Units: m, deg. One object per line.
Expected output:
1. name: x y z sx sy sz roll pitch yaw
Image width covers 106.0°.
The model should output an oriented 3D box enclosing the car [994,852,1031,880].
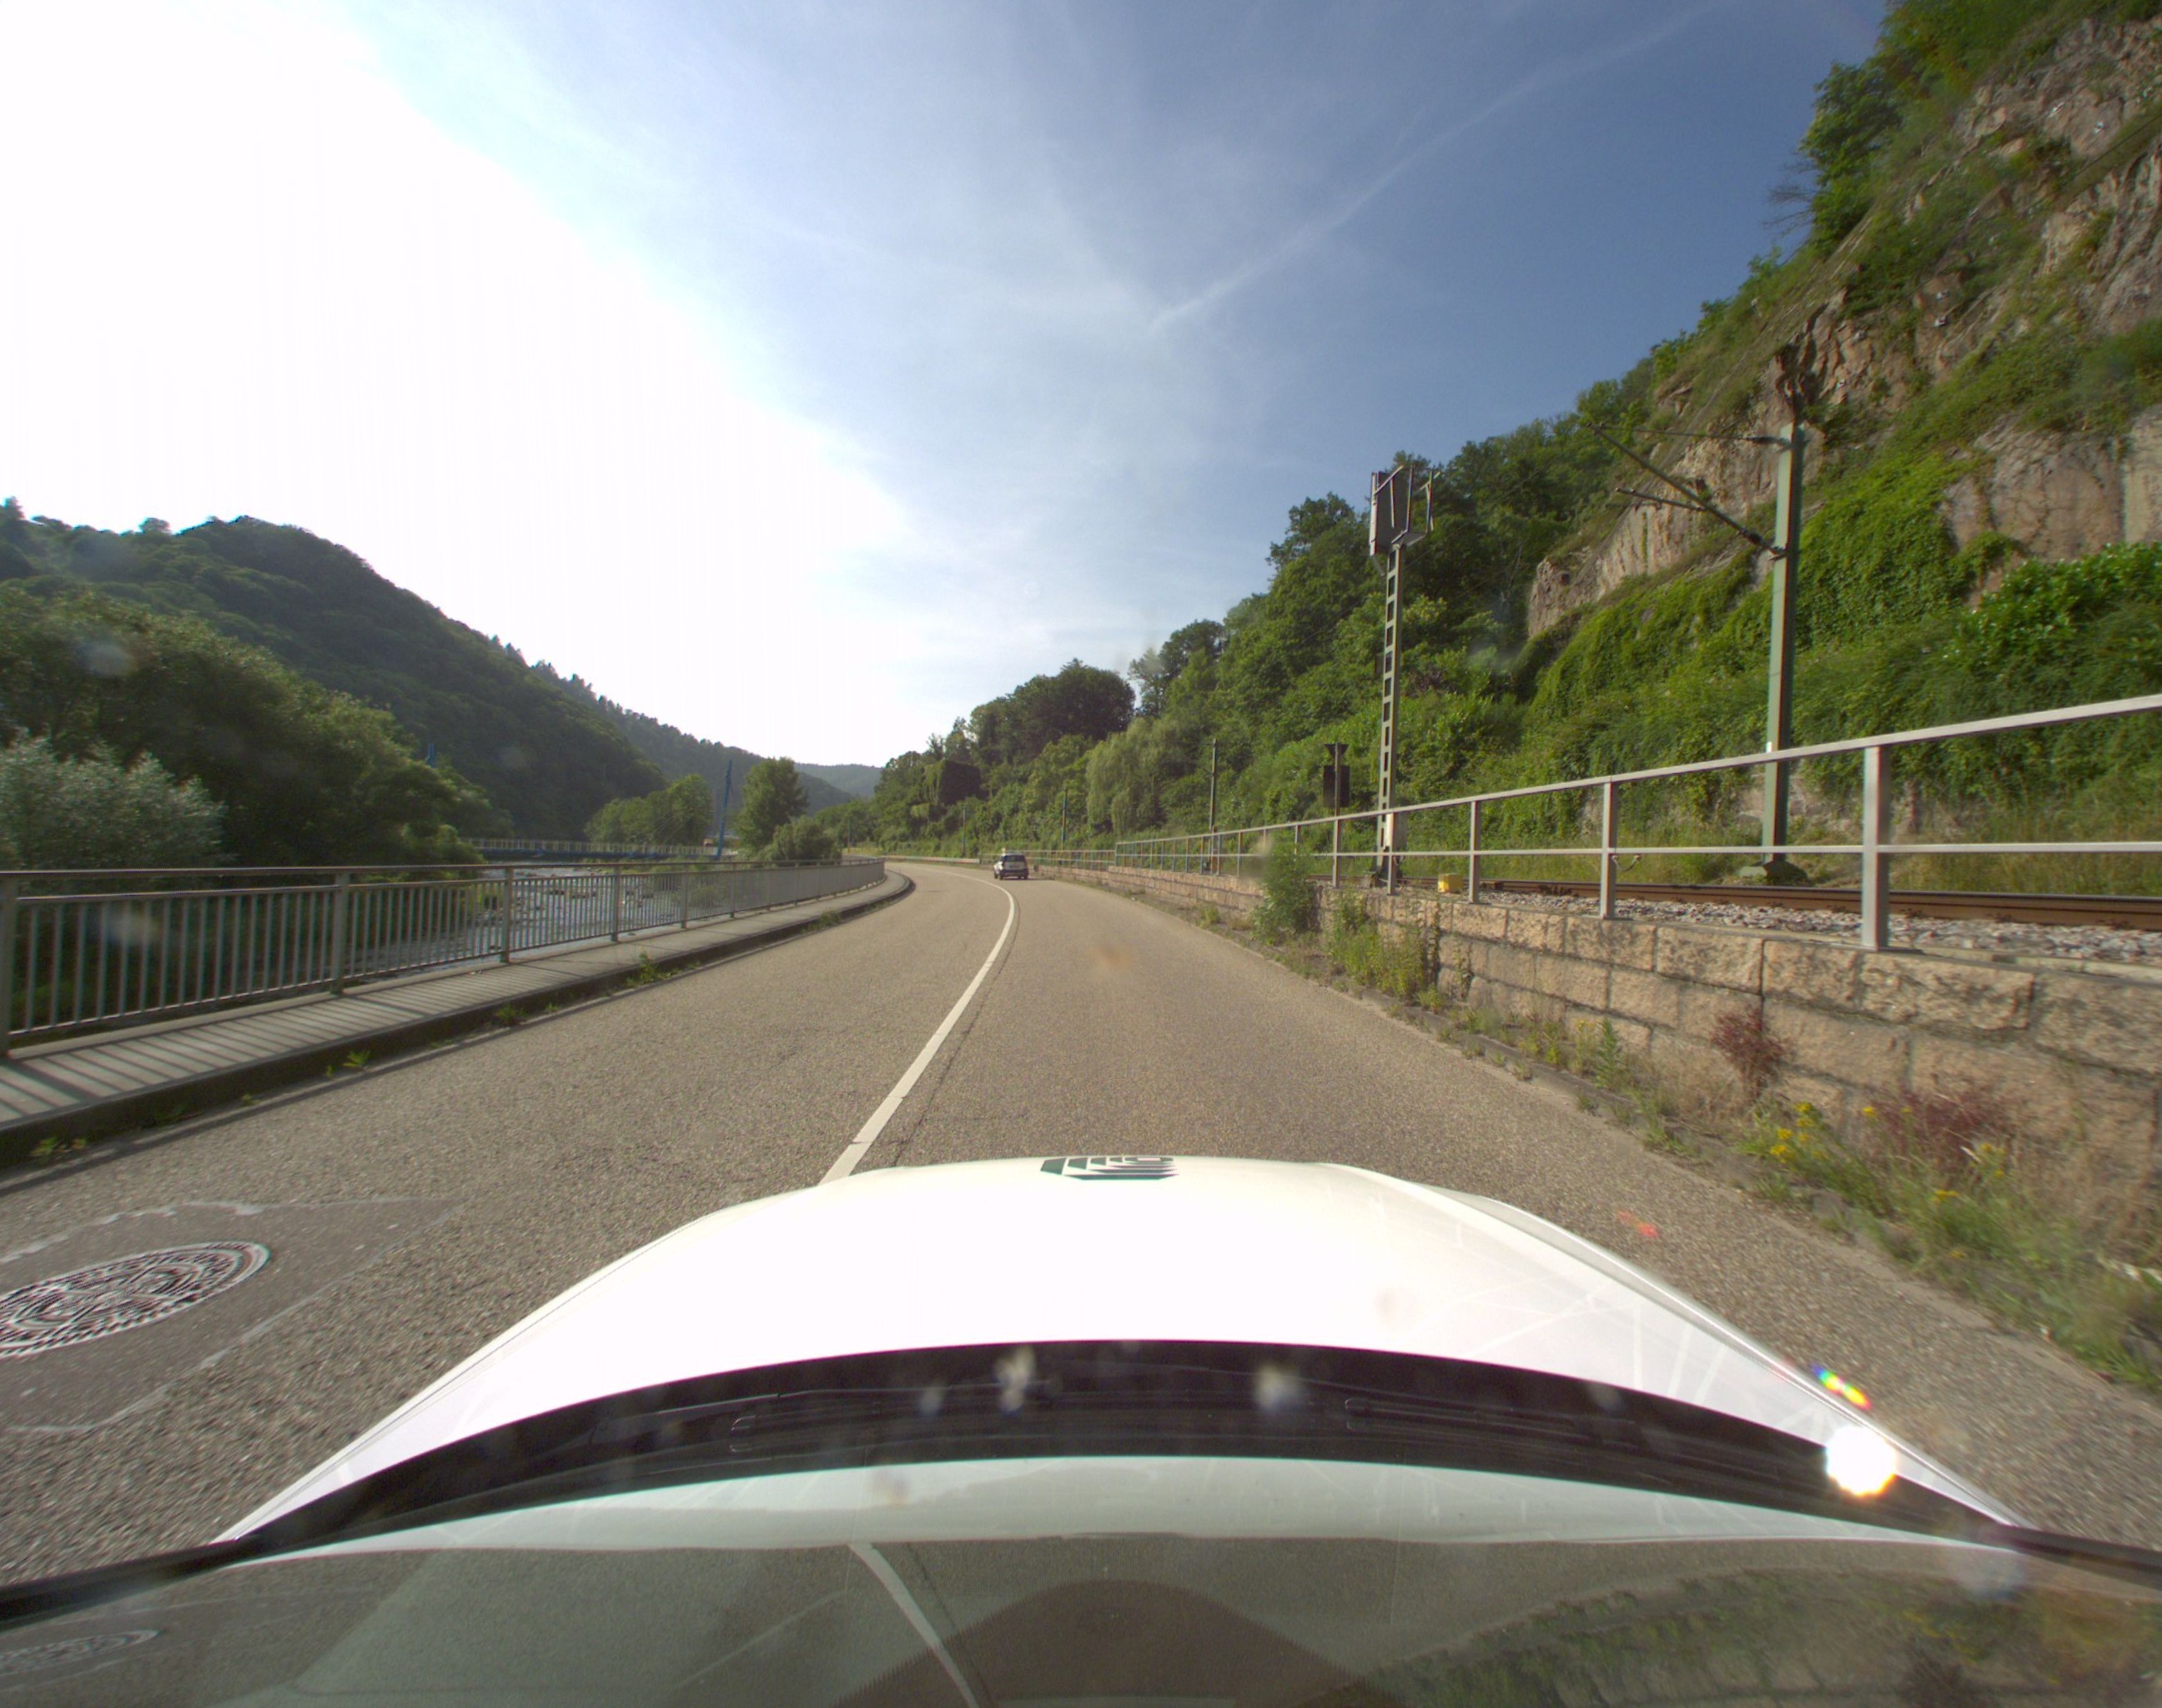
1. car: -4.364 0.734 51.125 1.874 1.656 3.984 0 0 -12
